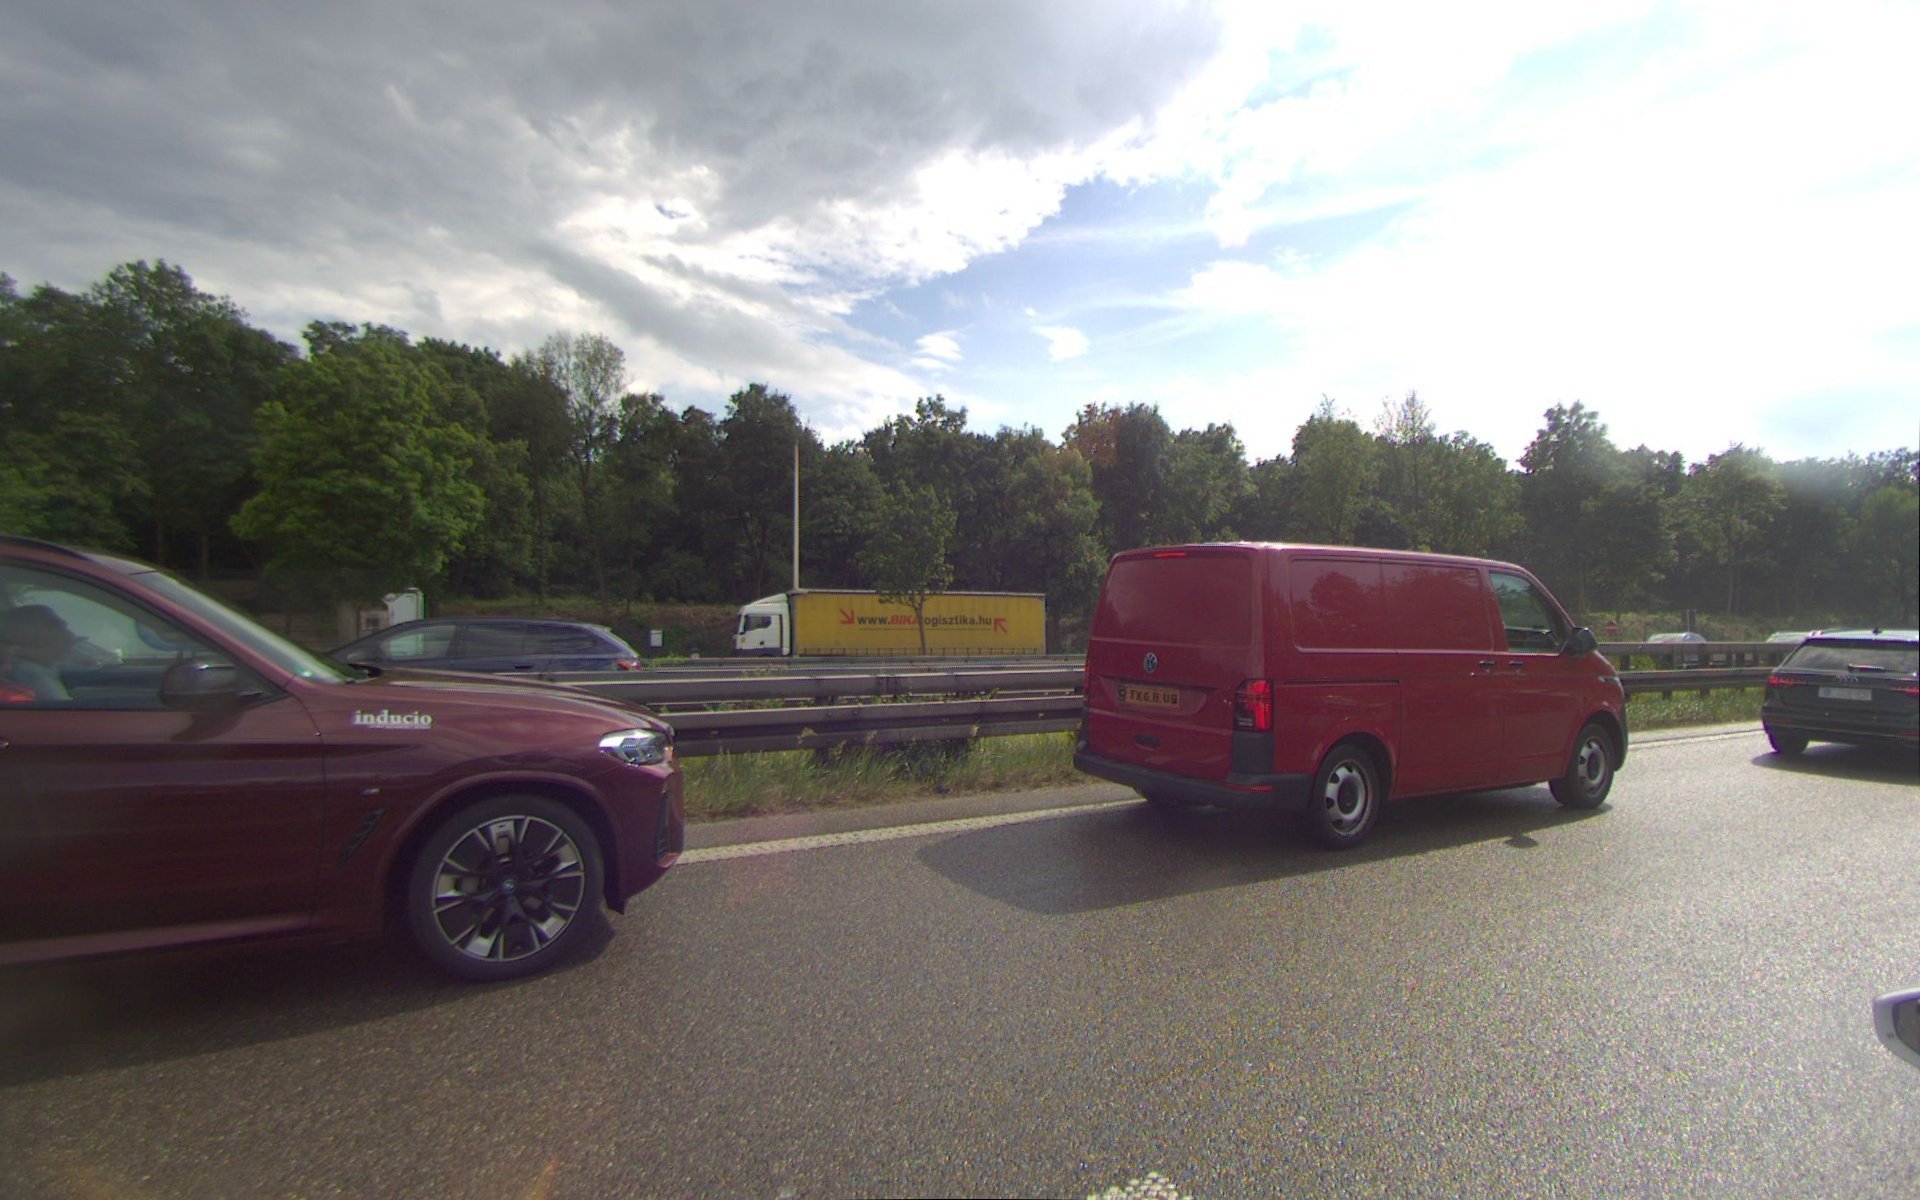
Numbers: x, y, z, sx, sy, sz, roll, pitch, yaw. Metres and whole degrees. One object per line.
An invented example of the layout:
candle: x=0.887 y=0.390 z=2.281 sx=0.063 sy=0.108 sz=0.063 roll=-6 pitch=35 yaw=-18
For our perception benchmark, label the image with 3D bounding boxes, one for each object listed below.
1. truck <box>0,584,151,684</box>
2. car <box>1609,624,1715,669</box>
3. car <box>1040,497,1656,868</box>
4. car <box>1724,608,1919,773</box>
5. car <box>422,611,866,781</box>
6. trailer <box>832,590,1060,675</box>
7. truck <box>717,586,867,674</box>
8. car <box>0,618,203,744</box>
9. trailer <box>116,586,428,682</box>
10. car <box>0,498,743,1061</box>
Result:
truck: x=-36.238 y=1.252 z=39.084 sx=6.619 sy=3.709 sz=3.774 roll=2 pitch=0 yaw=-27
car: x=30.849 y=2.036 z=44.107 sx=5.153 sy=1.799 sz=2.039 roll=2 pitch=0 yaw=-33
car: x=3.105 y=0.520 z=7.721 sx=4.703 sy=2.082 sz=1.968 roll=2 pitch=0 yaw=-32
car: x=11.018 y=0.953 z=11.558 sx=4.703 sy=1.585 sz=1.983 roll=2 pitch=0 yaw=-32
car: x=-4.003 y=1.116 z=13.103 sx=5.153 sy=1.799 sz=2.039 roll=2 pitch=0 yaw=-33
trailer: x=-0.722 y=1.767 z=53.651 sx=11.543 sy=4.171 sz=3.784 roll=2 pitch=0 yaw=-19
truck: x=-8.571 y=1.524 z=50.959 sx=6.936 sy=4.171 sz=3.784 roll=2 pitch=0 yaw=-19
car: x=-14.994 y=1.196 z=15.444 sx=5.153 sy=1.799 sz=2.039 roll=2 pitch=0 yaw=-33
trailer: x=-28.706 y=1.441 z=42.797 sx=10.355 sy=3.697 sz=3.778 roll=1 pitch=-1 yaw=-25
car: x=-3.336 y=0.556 z=3.773 sx=4.568 sy=1.658 sz=1.898 roll=2 pitch=-3 yaw=-33
